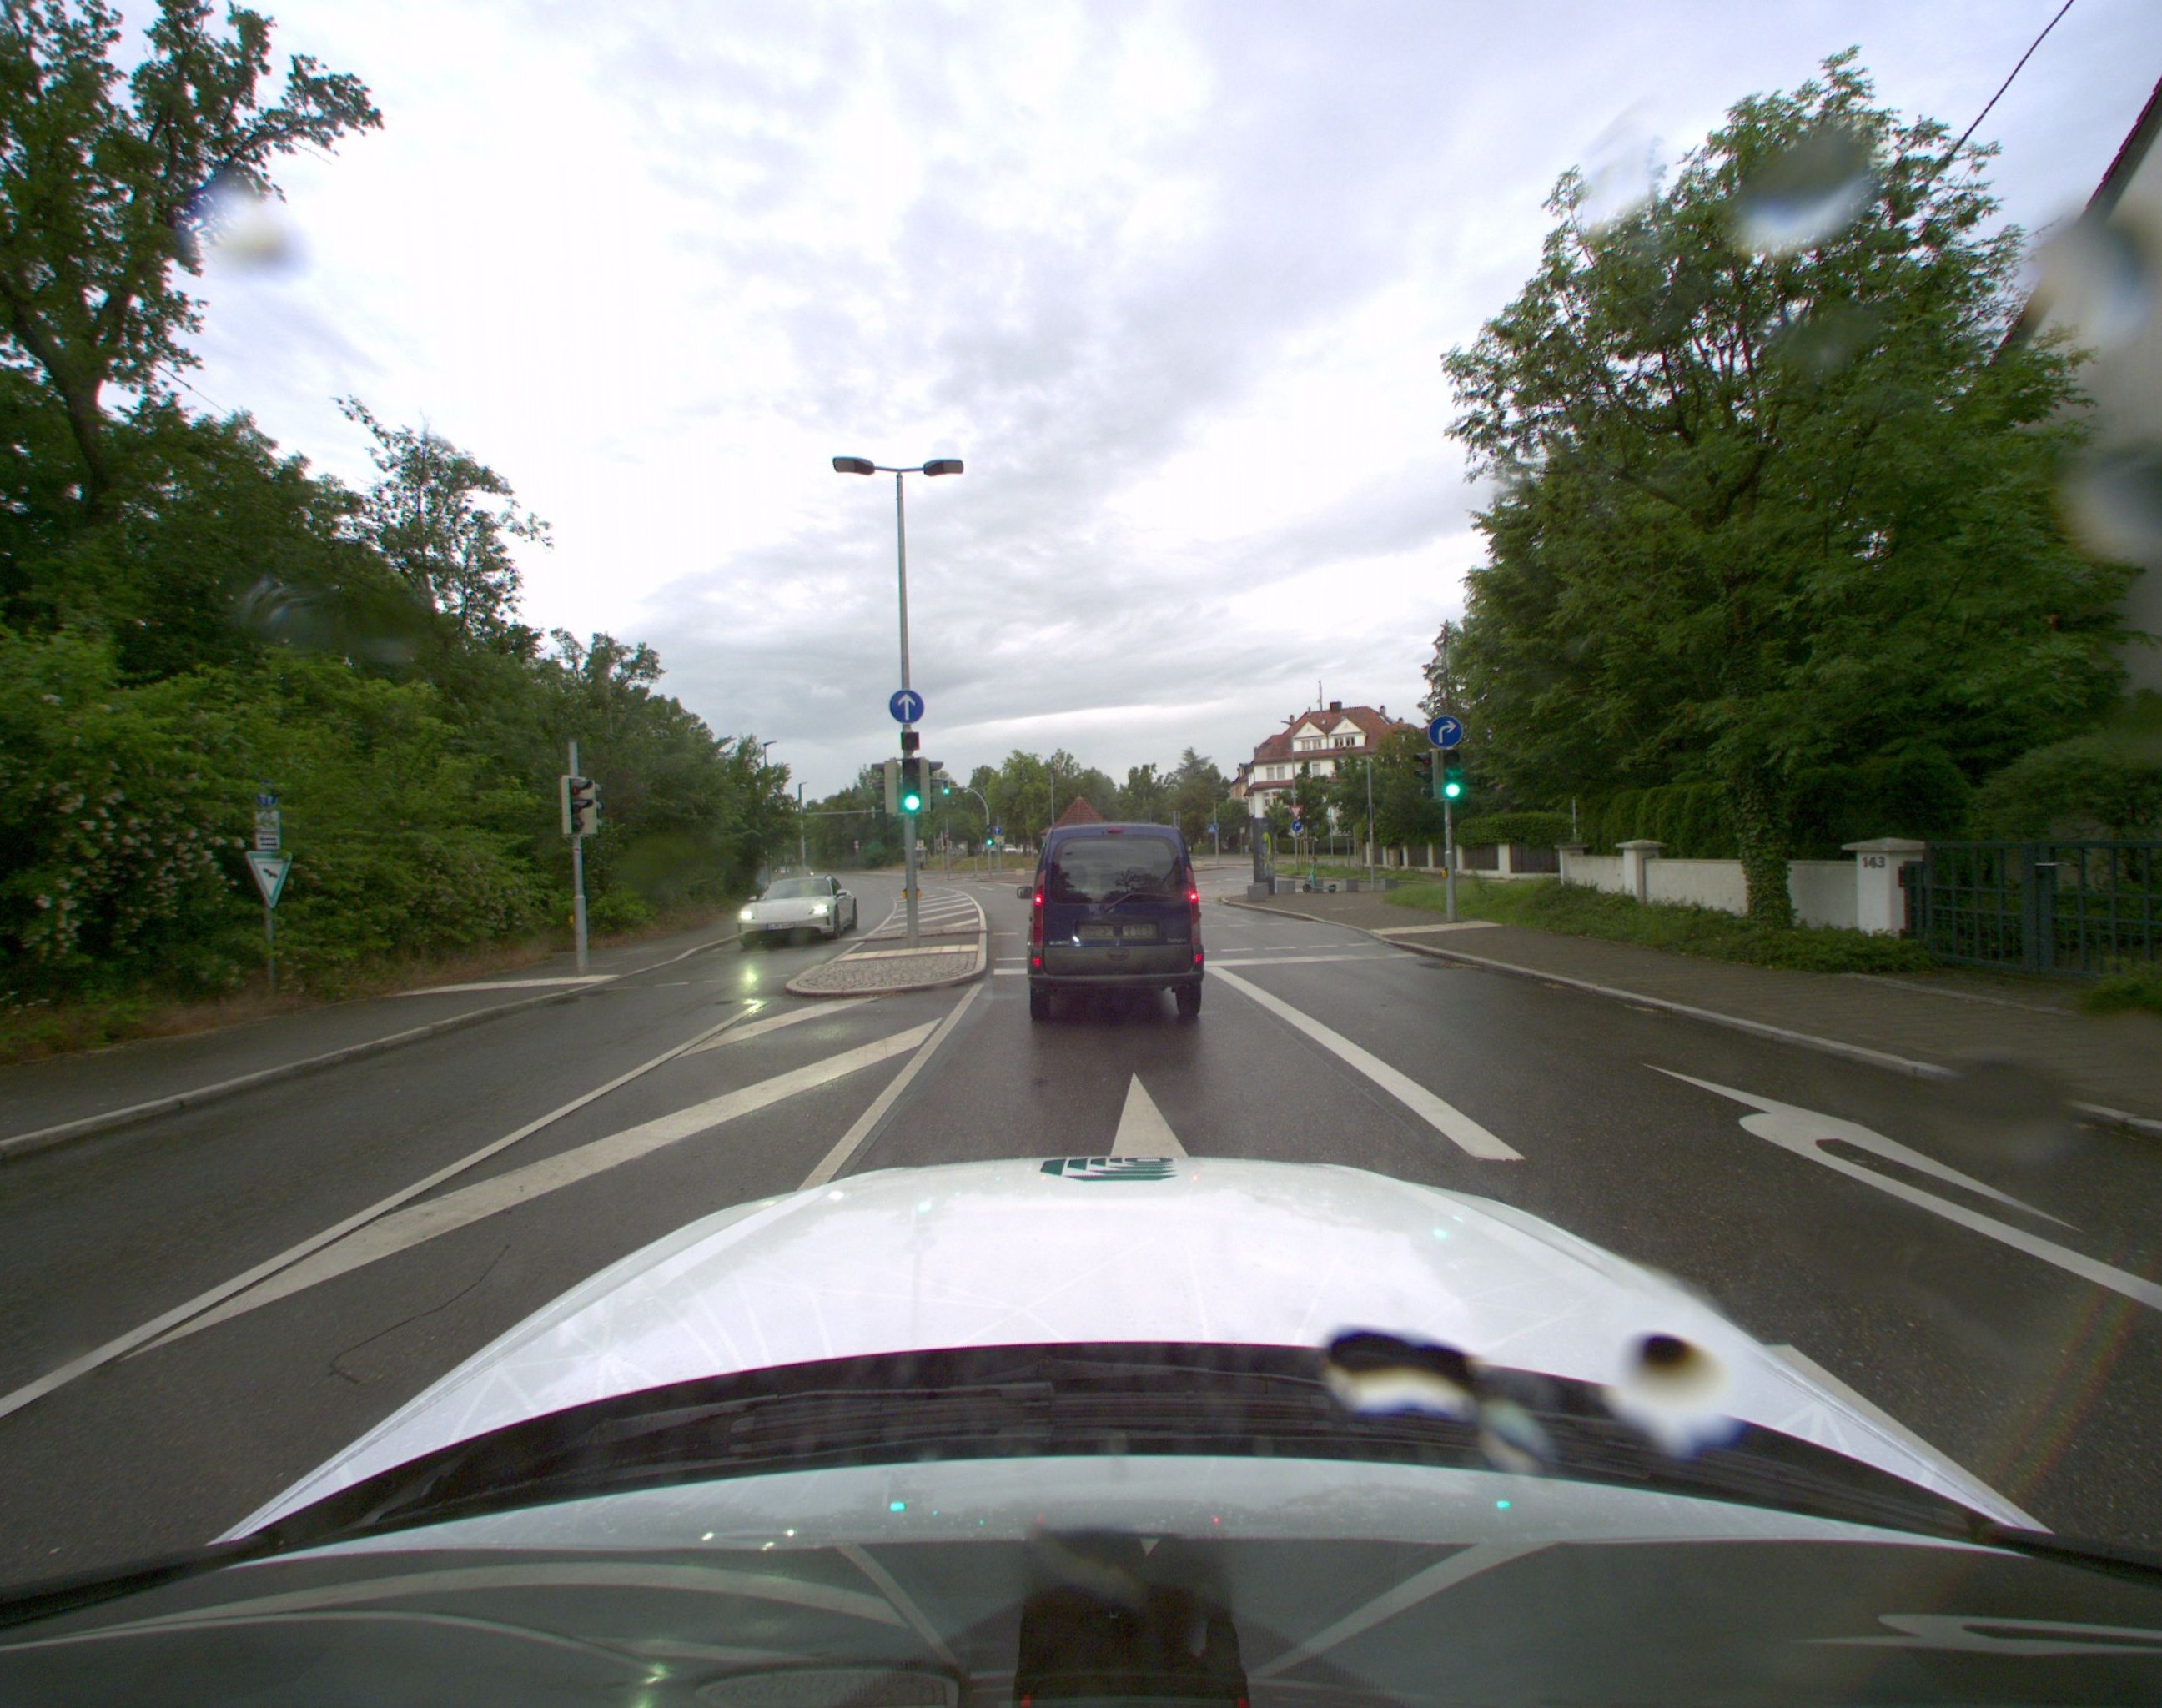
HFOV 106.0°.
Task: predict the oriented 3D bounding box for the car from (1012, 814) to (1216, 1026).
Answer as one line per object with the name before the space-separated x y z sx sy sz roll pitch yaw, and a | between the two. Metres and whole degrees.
car | 0.292 0.564 9.041 1.726 1.786 3.999 -1 0 0

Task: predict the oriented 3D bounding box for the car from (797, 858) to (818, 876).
car | -32.132 1.545 95.742 2.003 2.014 3.968 -1 -1 -24

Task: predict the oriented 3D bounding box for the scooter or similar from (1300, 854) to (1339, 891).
scooter or similar | 8.082 0.627 27.590 1.145 1.219 0.406 -2 -2 1

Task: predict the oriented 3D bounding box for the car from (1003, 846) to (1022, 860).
car | -9.253 -0.069 110.322 1.986 1.812 4.001 -1 -1 2

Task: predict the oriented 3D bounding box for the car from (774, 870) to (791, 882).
car | -42.362 3.148 115.564 1.999 1.585 3.976 -1 -1 -18

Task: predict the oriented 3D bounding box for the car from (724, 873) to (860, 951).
car | -6.351 1.198 18.462 1.993 1.311 4.347 -5 0 -8
